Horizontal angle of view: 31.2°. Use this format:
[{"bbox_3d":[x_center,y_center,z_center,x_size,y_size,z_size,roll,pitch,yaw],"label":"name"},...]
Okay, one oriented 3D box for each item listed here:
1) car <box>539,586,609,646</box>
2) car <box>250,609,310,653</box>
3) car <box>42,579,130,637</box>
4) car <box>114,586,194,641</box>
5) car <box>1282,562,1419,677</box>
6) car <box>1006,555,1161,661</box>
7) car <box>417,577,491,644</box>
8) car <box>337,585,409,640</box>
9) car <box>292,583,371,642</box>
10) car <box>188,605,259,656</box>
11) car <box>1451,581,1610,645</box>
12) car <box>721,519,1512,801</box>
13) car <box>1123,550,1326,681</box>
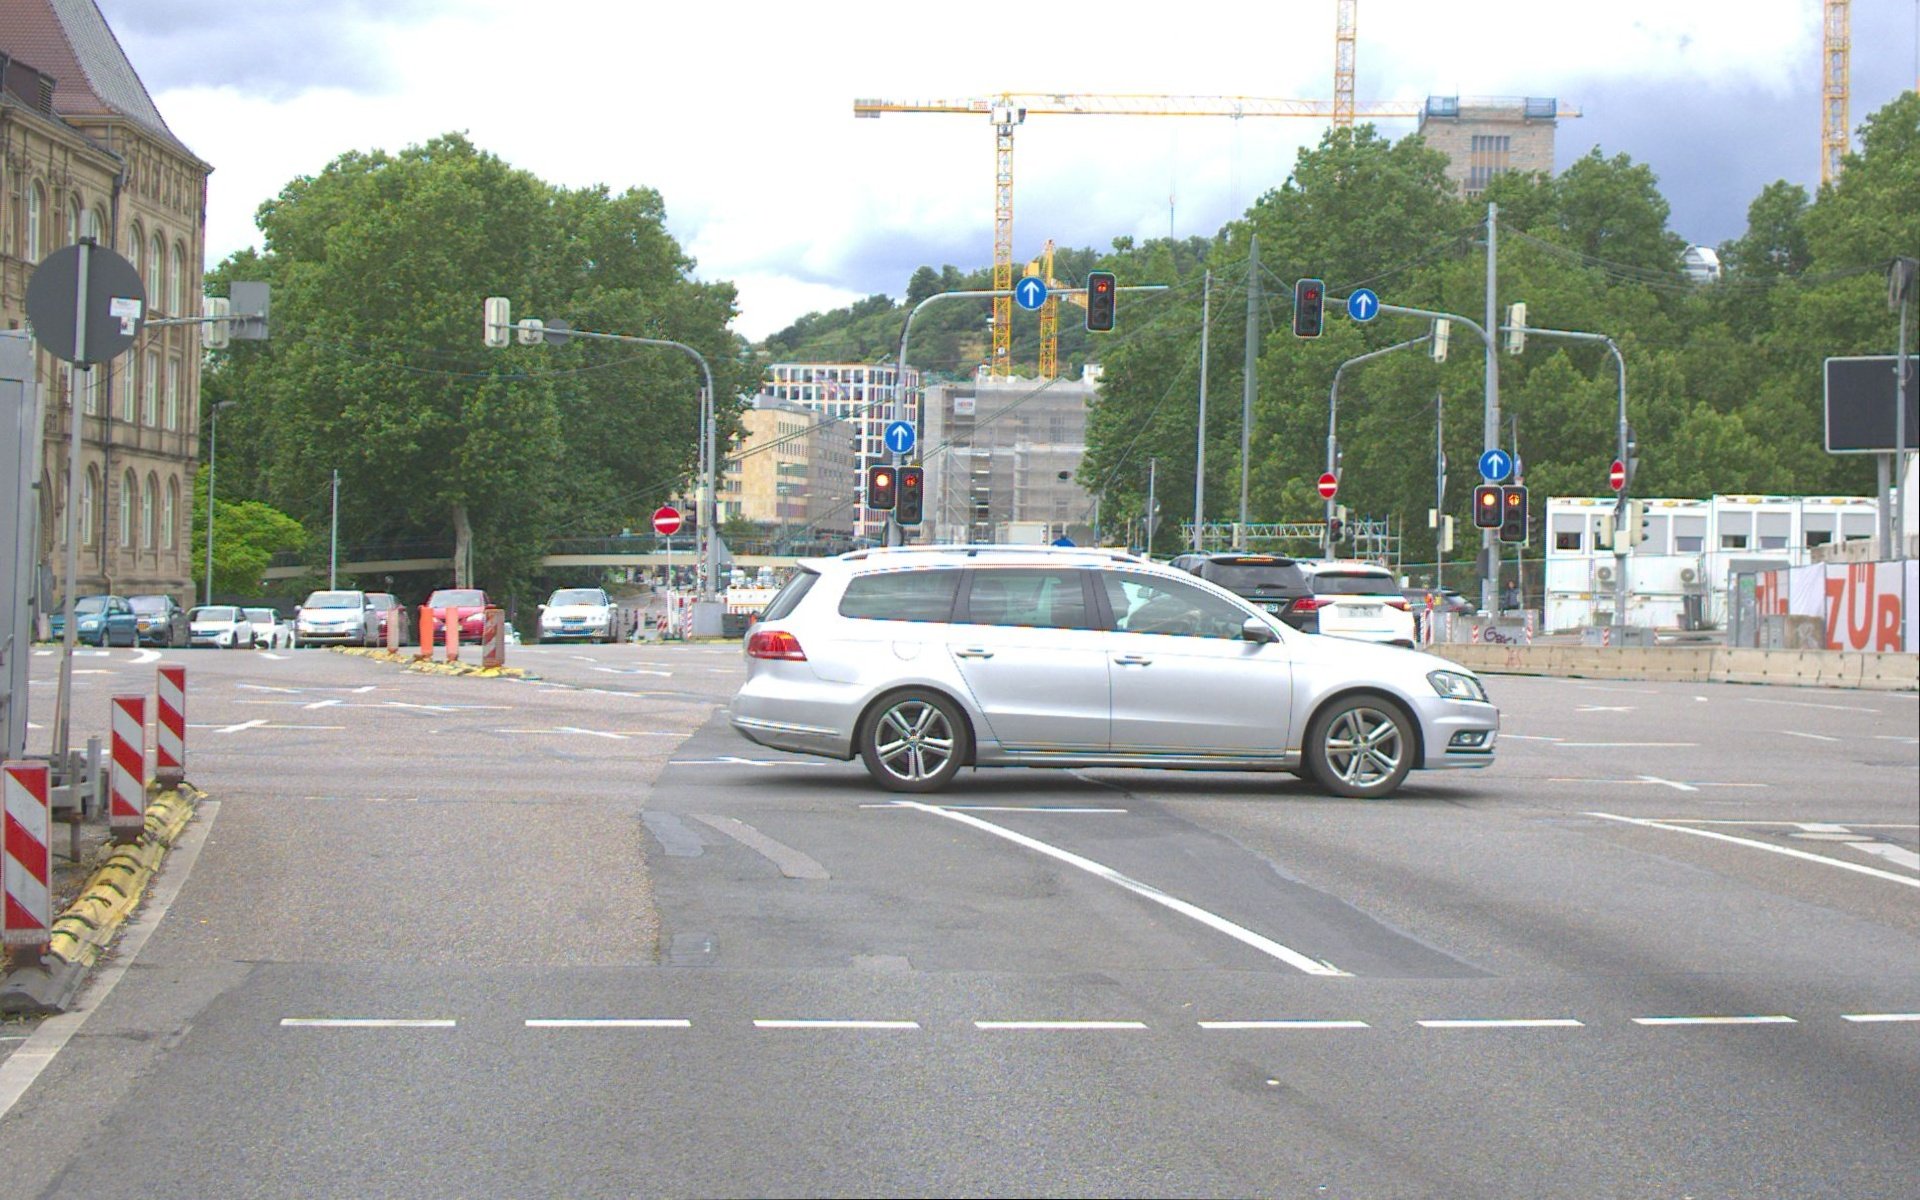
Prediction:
[{"bbox_3d":[-9.549,0.376,85.043,1.675,1.393,3.684,1,1,-7],"label":"car"},{"bbox_3d":[-22.882,1.028,115.716,1.675,1.393,3.684,1,1,-7],"label":"car"},{"bbox_3d":[-22.002,0.186,86.653,1.675,1.393,3.684,1,1,-7],"label":"car"},{"bbox_3d":[-21.764,0.356,92.930,1.675,1.393,3.684,1,1,-7],"label":"car"},{"bbox_3d":[5.994,0.268,53.057,1.676,1.696,3.374,1,1,-1],"label":"car"},{"bbox_3d":[1.958,0.101,55.537,1.816,1.619,4.001,1,1,-8],"label":"car"},{"bbox_3d":[-12.440,0.248,84.730,1.675,1.575,3.684,1,1,-7],"label":"car"},{"bbox_3d":[-15.654,0.324,91.802,1.675,1.393,3.684,1,1,-7],"label":"car"},{"bbox_3d":[-15.635,0.285,85.640,1.675,1.393,3.684,1,1,-7],"label":"car"},{"bbox_3d":[-21.703,0.885,101.419,1.675,1.393,3.684,1,1,-7],"label":"car"},{"bbox_3d":[14.712,0.319,88.620,3.989,1.546,1.781,1,1,10],"label":"car"},{"bbox_3d":[0.892,0.353,21.302,4.709,1.619,1.682,1,0,-4],"label":"car"},{"bbox_3d":[3.667,0.185,48.490,1.831,1.740,4.257,1,1,-10],"label":"car"}]
